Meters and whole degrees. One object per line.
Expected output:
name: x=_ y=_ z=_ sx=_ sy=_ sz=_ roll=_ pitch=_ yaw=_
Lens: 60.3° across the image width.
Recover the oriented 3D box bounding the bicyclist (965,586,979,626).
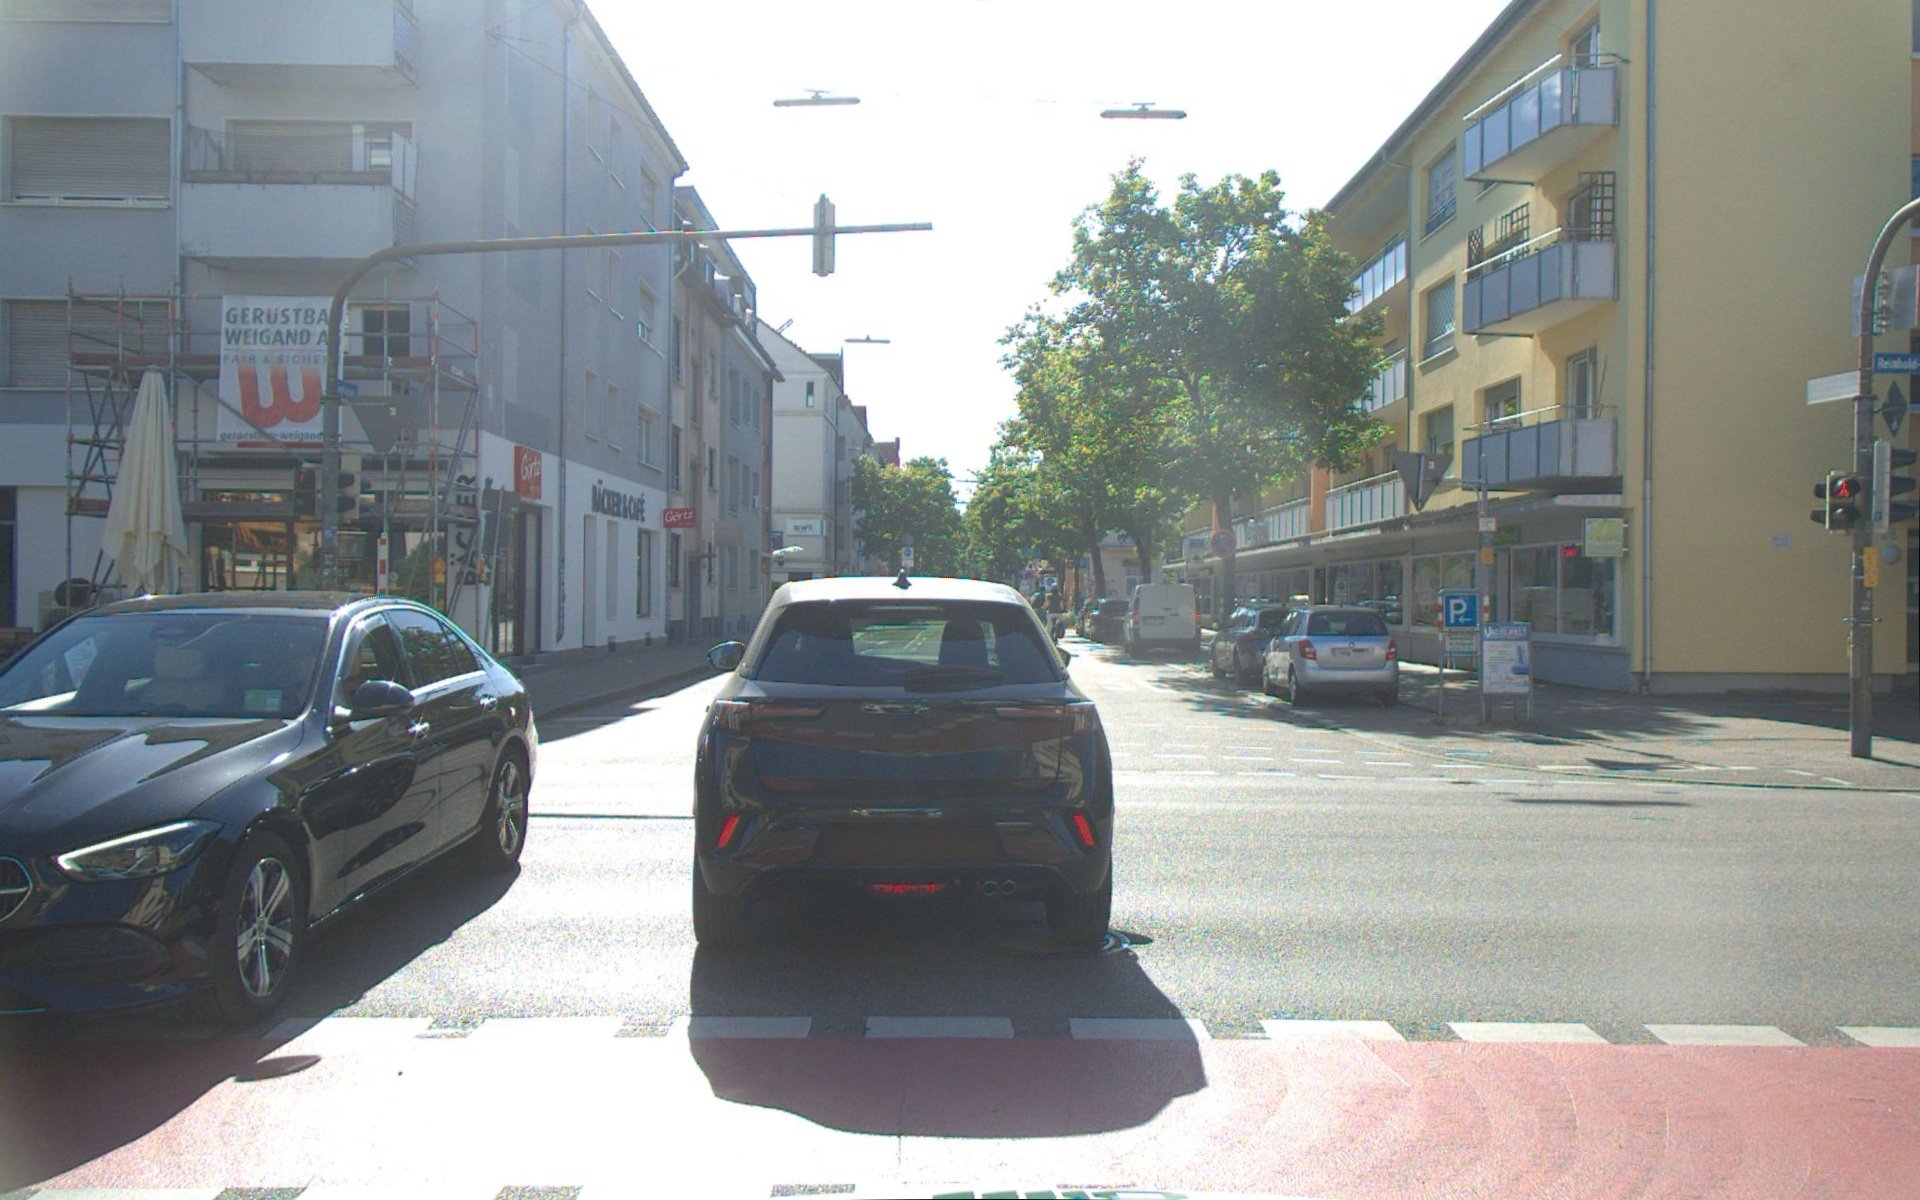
bicyclist: x=0.526 y=0.256 z=72.398 sx=0.619 sy=1.698 sz=1.050 roll=0 pitch=0 yaw=-1

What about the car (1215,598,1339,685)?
car: x=5.863 y=0.731 z=30.958 sx=1.677 sy=1.509 sz=3.381 roll=0 pitch=0 yaw=0

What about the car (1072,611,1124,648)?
car: x=5.246 y=1.108 z=63.130 sx=1.677 sy=1.337 sz=3.381 roll=0 pitch=0 yaw=0

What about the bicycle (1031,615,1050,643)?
bicycle: x=2.620 y=0.937 z=53.987 sx=0.535 sy=0.881 sz=1.876 roll=0 pitch=0 yaw=1

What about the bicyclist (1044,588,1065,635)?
bicyclist: x=2.577 y=0.312 z=45.191 sx=0.535 sy=1.284 sz=0.803 roll=0 pitch=0 yaw=1

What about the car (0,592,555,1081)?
car: x=-3.196 y=0.703 z=7.114 sx=1.768 sy=1.437 sz=4.426 roll=-1 pitch=0 yaw=0

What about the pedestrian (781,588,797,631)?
pedestrian: x=-6.472 y=0.363 z=62.686 sx=0.566 sy=1.610 sz=0.707 roll=0 pitch=0 yaw=-6

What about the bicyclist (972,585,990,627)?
bicyclist: x=0.704 y=0.191 z=55.555 sx=0.576 sy=1.406 sz=0.823 roll=0 pitch=0 yaw=1

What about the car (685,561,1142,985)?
car: x=-0.320 y=0.657 z=8.269 sx=1.728 sy=1.586 sz=3.996 roll=0 pitch=0 yaw=-5

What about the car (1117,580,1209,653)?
car: x=5.445 y=0.414 z=44.820 sx=2.004 sy=1.879 sz=4.584 roll=0 pitch=0 yaw=1

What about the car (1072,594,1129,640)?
car: x=4.839 y=0.566 z=57.147 sx=1.677 sy=1.509 sz=3.381 roll=0 pitch=0 yaw=0

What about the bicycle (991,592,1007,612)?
bicycle: x=1.721 y=0.096 z=73.237 sx=0.677 sy=0.881 sz=1.876 roll=0 pitch=0 yaw=1

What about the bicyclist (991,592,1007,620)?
bicyclist: x=1.723 y=0.269 z=73.434 sx=0.677 sy=1.214 sz=0.595 roll=0 pitch=0 yaw=1

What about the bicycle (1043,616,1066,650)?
bicycle: x=2.580 y=0.891 z=45.262 sx=0.535 sy=0.881 sz=1.876 roll=0 pitch=0 yaw=1

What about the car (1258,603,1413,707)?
car: x=5.883 y=0.816 z=26.258 sx=1.677 sy=1.509 sz=3.480 roll=0 pitch=0 yaw=0

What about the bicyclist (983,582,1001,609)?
bicyclist: x=1.613 y=-0.222 z=82.949 sx=0.839 sy=1.337 sz=1.210 roll=3 pitch=0 yaw=-1

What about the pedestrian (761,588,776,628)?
pedestrian: x=-7.269 y=0.306 z=62.790 sx=0.566 sy=1.493 sz=0.702 roll=0 pitch=0 yaw=-6

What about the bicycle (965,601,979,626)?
bicycle: x=0.529 y=0.593 z=72.775 sx=0.619 sy=1.059 sz=1.795 roll=0 pitch=0 yaw=-1

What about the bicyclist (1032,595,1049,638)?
bicyclist: x=2.616 y=0.527 z=53.942 sx=0.535 sy=1.406 sz=0.823 roll=0 pitch=0 yaw=1

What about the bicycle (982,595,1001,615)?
bicycle: x=1.585 y=0.247 z=83.009 sx=0.839 sy=0.961 sz=2.307 roll=3 pitch=0 yaw=-1

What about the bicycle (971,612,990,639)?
bicycle: x=0.698 y=0.850 z=55.511 sx=0.607 sy=0.881 sz=1.876 roll=0 pitch=0 yaw=1
